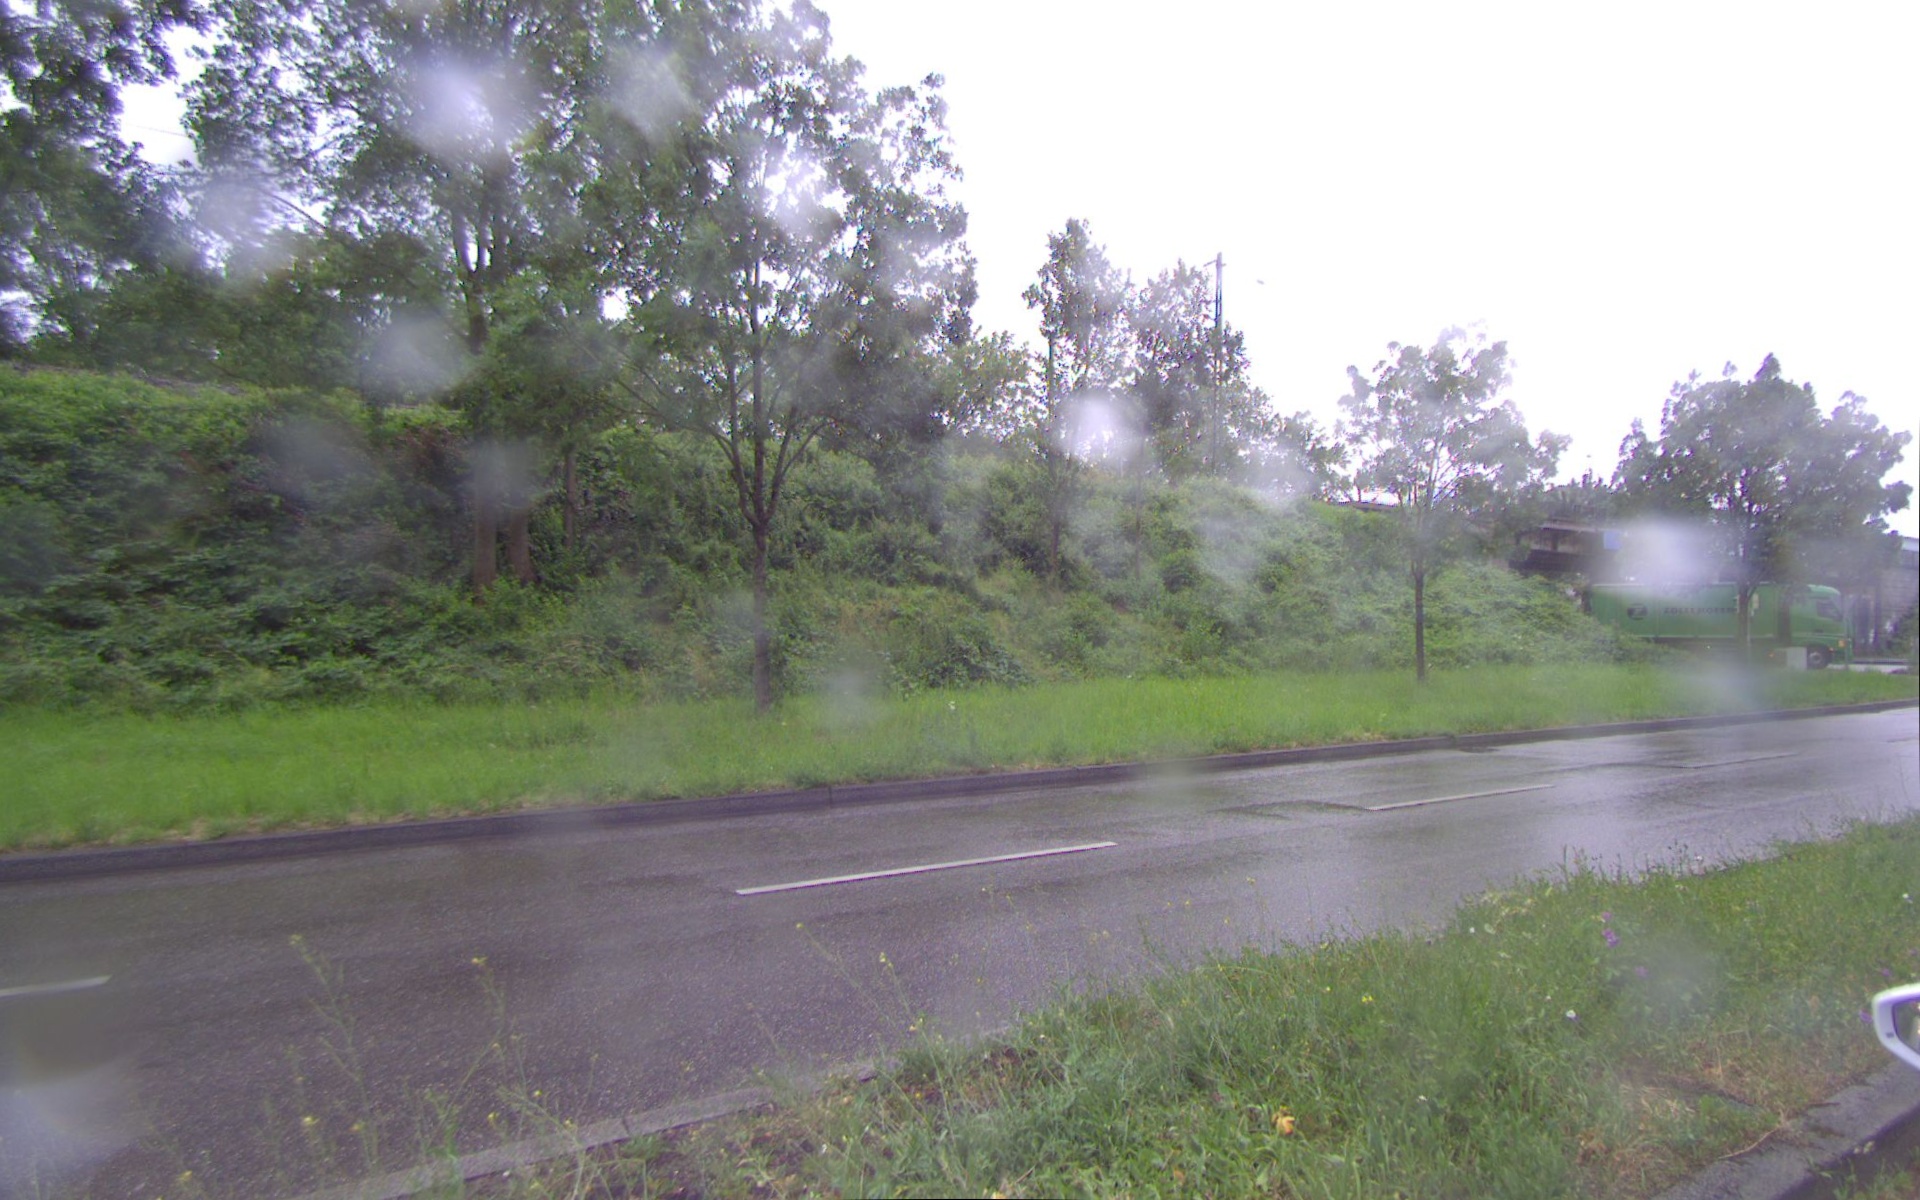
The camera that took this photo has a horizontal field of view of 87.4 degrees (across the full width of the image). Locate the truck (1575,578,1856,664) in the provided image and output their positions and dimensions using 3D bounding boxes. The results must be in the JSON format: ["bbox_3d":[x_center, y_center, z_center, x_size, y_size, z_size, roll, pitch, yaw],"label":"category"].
[{"bbox_3d":[34.497,0.901,46.457,9.947,3.497,2.657,2,-1,24],"label":"truck"}]
